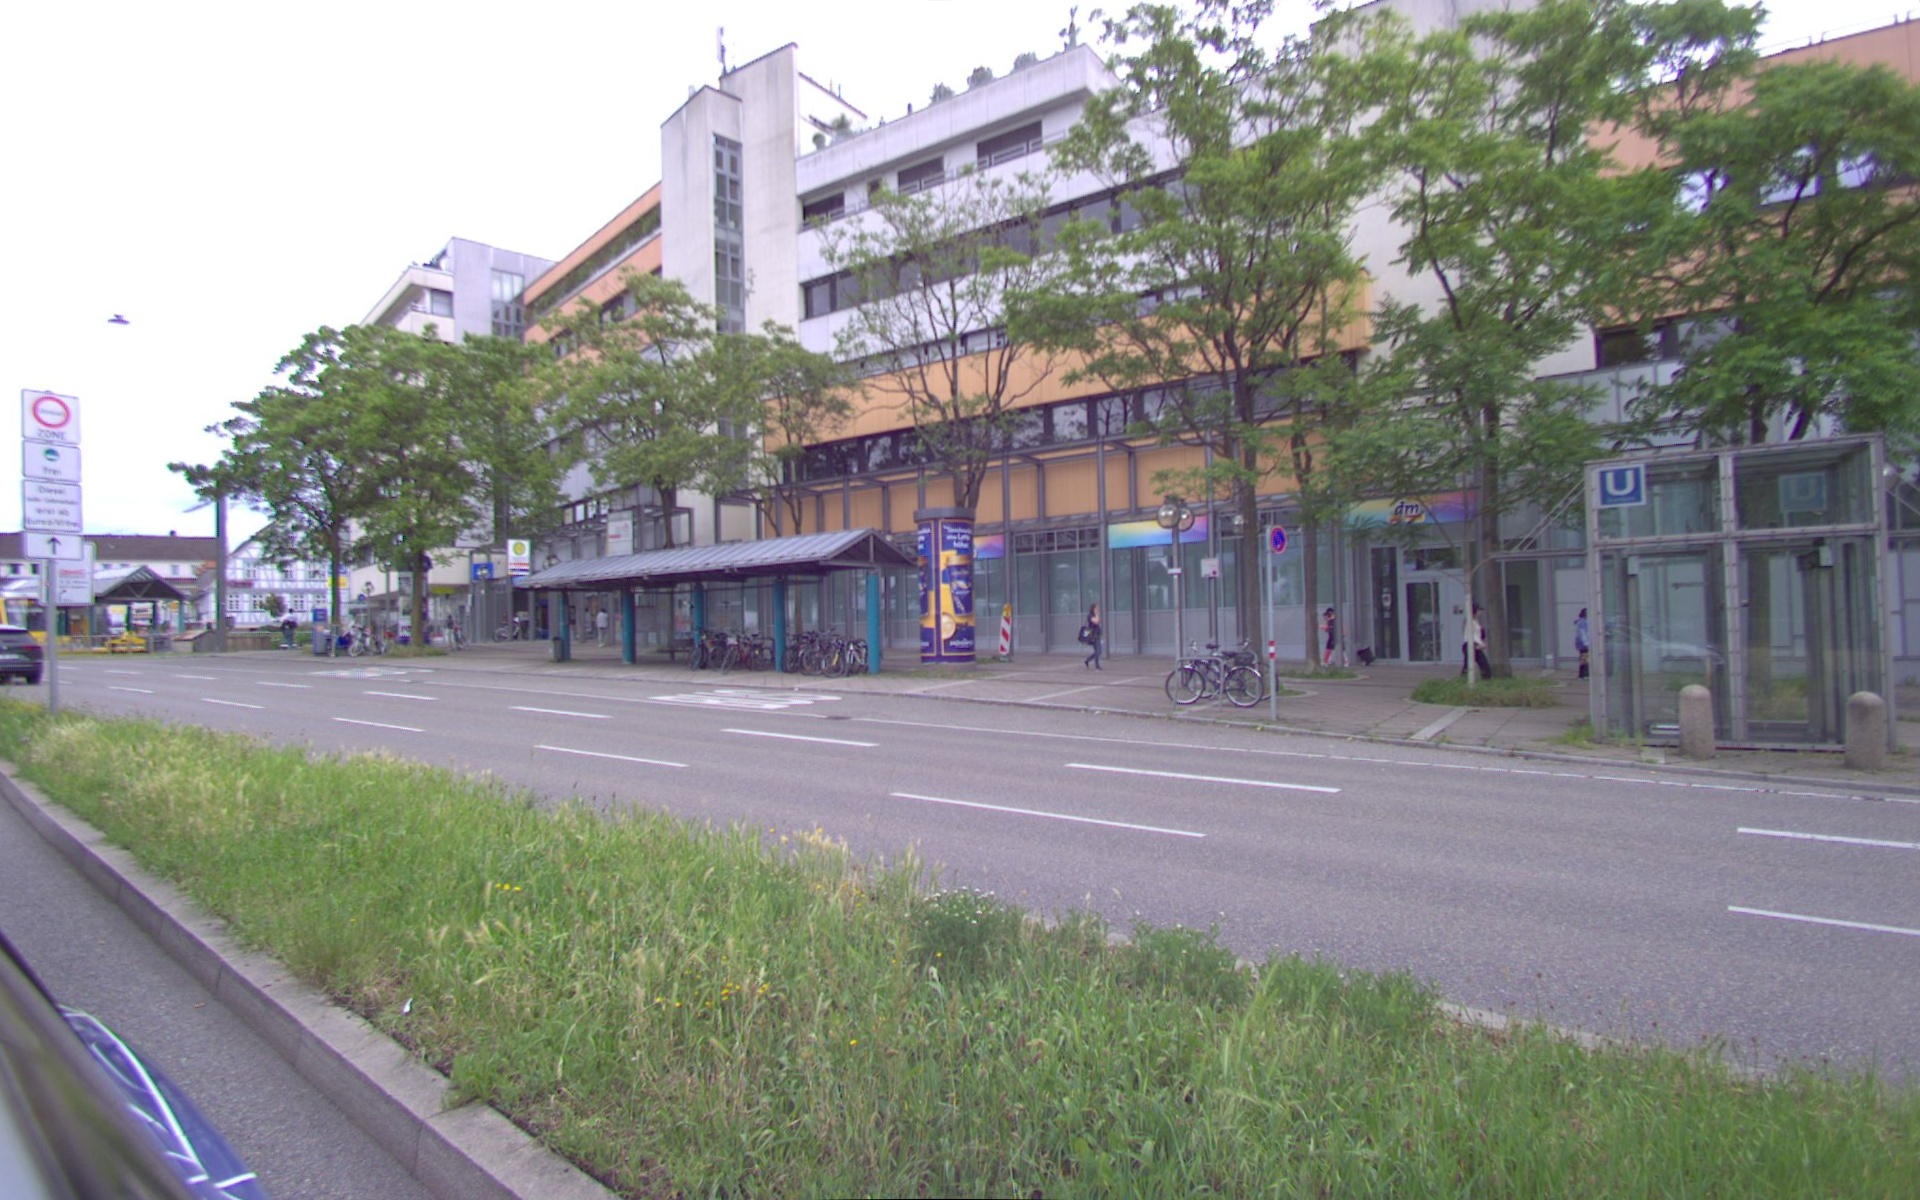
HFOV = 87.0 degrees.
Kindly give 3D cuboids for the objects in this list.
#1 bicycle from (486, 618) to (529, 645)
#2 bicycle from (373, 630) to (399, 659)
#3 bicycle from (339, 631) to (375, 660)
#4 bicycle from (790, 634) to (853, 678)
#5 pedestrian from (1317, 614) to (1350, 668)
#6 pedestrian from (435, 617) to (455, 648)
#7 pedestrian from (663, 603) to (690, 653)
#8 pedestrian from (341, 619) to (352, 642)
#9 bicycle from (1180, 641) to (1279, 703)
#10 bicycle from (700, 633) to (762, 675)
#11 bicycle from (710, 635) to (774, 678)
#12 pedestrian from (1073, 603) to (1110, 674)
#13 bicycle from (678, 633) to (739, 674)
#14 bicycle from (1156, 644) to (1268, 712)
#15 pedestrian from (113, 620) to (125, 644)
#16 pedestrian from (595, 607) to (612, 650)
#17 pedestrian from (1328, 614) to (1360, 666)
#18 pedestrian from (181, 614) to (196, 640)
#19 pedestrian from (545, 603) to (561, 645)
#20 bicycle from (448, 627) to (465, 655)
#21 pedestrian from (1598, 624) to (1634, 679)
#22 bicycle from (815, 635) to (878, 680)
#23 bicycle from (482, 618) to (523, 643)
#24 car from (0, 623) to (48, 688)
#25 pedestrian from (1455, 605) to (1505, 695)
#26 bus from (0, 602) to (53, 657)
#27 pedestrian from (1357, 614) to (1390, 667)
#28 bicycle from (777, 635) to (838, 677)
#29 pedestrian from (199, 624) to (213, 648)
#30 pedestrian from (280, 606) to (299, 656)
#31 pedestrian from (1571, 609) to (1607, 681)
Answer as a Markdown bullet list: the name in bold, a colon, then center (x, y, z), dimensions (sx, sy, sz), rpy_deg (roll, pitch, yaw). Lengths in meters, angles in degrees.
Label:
- **bicycle**: center (-24.946, 1.724, 55.795), dimensions (2.107, 1.385, 0.621), rpy_deg (-1, 0, -31)
- **bicycle**: center (-22.746, 1.752, 40.116), dimensions (0.584, 1.085, 2.044), rpy_deg (0, -1, -21)
- **bicycle**: center (-23.612, 1.765, 39.659), dimensions (0.585, 1.085, 2.042), rpy_deg (0, -1, -12)
- **bicycle**: center (-3.613, 1.457, 26.599), dimensions (0.549, 1.048, 1.714), rpy_deg (-2, 0, 38)
- **pedestrian**: center (9.879, 1.077, 26.759), dimensions (0.694, 1.385, 0.578), rpy_deg (-1, -2, 34)
- **pedestrian**: center (-27.964, 1.750, 54.945), dimensions (0.752, 1.695, 0.755), rpy_deg (-1, -2, 41)
- **pedestrian**: center (-11.717, 1.142, 41.823), dimensions (0.792, 2.029, 0.702), rpy_deg (-1, 0, 34)
- **pedestrian**: center (-30.932, 1.537, 51.041), dimensions (0.368, 1.188, 0.338), rpy_deg (-1, -2, 31)
- **bicycle**: center (4.984, 1.312, 18.795), dimensions (1.737, 1.074, 0.542), rpy_deg (-2, -1, 45)
- **bicycle**: center (-6.454, 1.511, 28.590), dimensions (0.549, 1.048, 1.714), rpy_deg (-2, 1, 38)
- **bicycle**: center (-5.960, 1.529, 27.728), dimensions (0.549, 1.048, 1.714), rpy_deg (-2, 1, 38)
- **pedestrian**: center (3.367, 0.984, 25.916), dimensions (0.769, 1.800, 0.525), rpy_deg (-1, -2, 33)
- **bicycle**: center (-7.232, 1.534, 29.155), dimensions (0.549, 1.048, 1.714), rpy_deg (-2, 0, 38)
- **bicycle**: center (4.368, 1.323, 17.604), dimensions (0.802, 1.068, 1.739), rpy_deg (0, -1, -40)
- **pedestrian**: center (-69.501, 2.649, 83.670), dimensions (0.731, 2.029, 0.940), rpy_deg (1, -2, -39)
- **pedestrian**: center (-15.472, 1.241, 43.913), dimensions (0.639, 1.823, 0.761), rpy_deg (0, -2, -16)
- **pedestrian**: center (10.356, 1.071, 27.273), dimensions (0.694, 1.385, 0.578), rpy_deg (-1, -2, 34)
- **pedestrian**: center (-62.491, 2.195, 81.957), dimensions (0.867, 2.029, 1.010), rpy_deg (1, -2, -44)
- **pedestrian**: center (-19.724, 1.148, 49.051), dimensions (0.558, 2.029, 0.611), rpy_deg (1, -2, -44)
- **bicycle**: center (-21.350, 1.706, 42.936), dimensions (0.584, 1.134, 2.044), rpy_deg (1, -1, -26)
- **pedestrian**: center (14.408, 1.118, 22.227), dimensions (0.620, 1.190, 0.418), rpy_deg (-1, -2, 31)
- **bicycle**: center (-2.904, 1.473, 26.066), dimensions (0.549, 1.048, 1.714), rpy_deg (-2, 0, 38)
- **bicycle**: center (-26.094, 1.734, 57.774), dimensions (2.106, 1.377, 0.621), rpy_deg (-1, 0, -24)
- **car**: center (-24.033, 1.327, 24.700), dimensions (4.277, 1.492, 1.695), rpy_deg (-1, -1, 35)
- **pedestrian**: center (9.912, 0.939, 19.303), dimensions (0.721, 1.662, 0.669), rpy_deg (-1, -1, 37)
- **bus**: center (-55.980, 1.683, 58.624), dimensions (8.470, 3.006, 2.530), rpy_deg (-1, -2, 29)
- **pedestrian**: center (10.928, 1.063, 26.717), dimensions (0.694, 1.385, 0.578), rpy_deg (-1, -2, 34)
- **bicycle**: center (-4.137, 1.514, 27.566), dimensions (0.549, 1.048, 1.714), rpy_deg (-2, -1, 38)
- **pedestrian**: center (-50.093, 2.391, 67.267), dimensions (0.581, 1.554, 0.570), rpy_deg (-1, -2, 32)
- **pedestrian**: center (-31.451, 1.442, 47.475), dimensions (0.608, 2.325, 0.583), rpy_deg (-1, -2, 39)
- **pedestrian**: center (13.589, 0.967, 21.876), dimensions (0.620, 1.515, 0.563), rpy_deg (-1, -2, 31)
